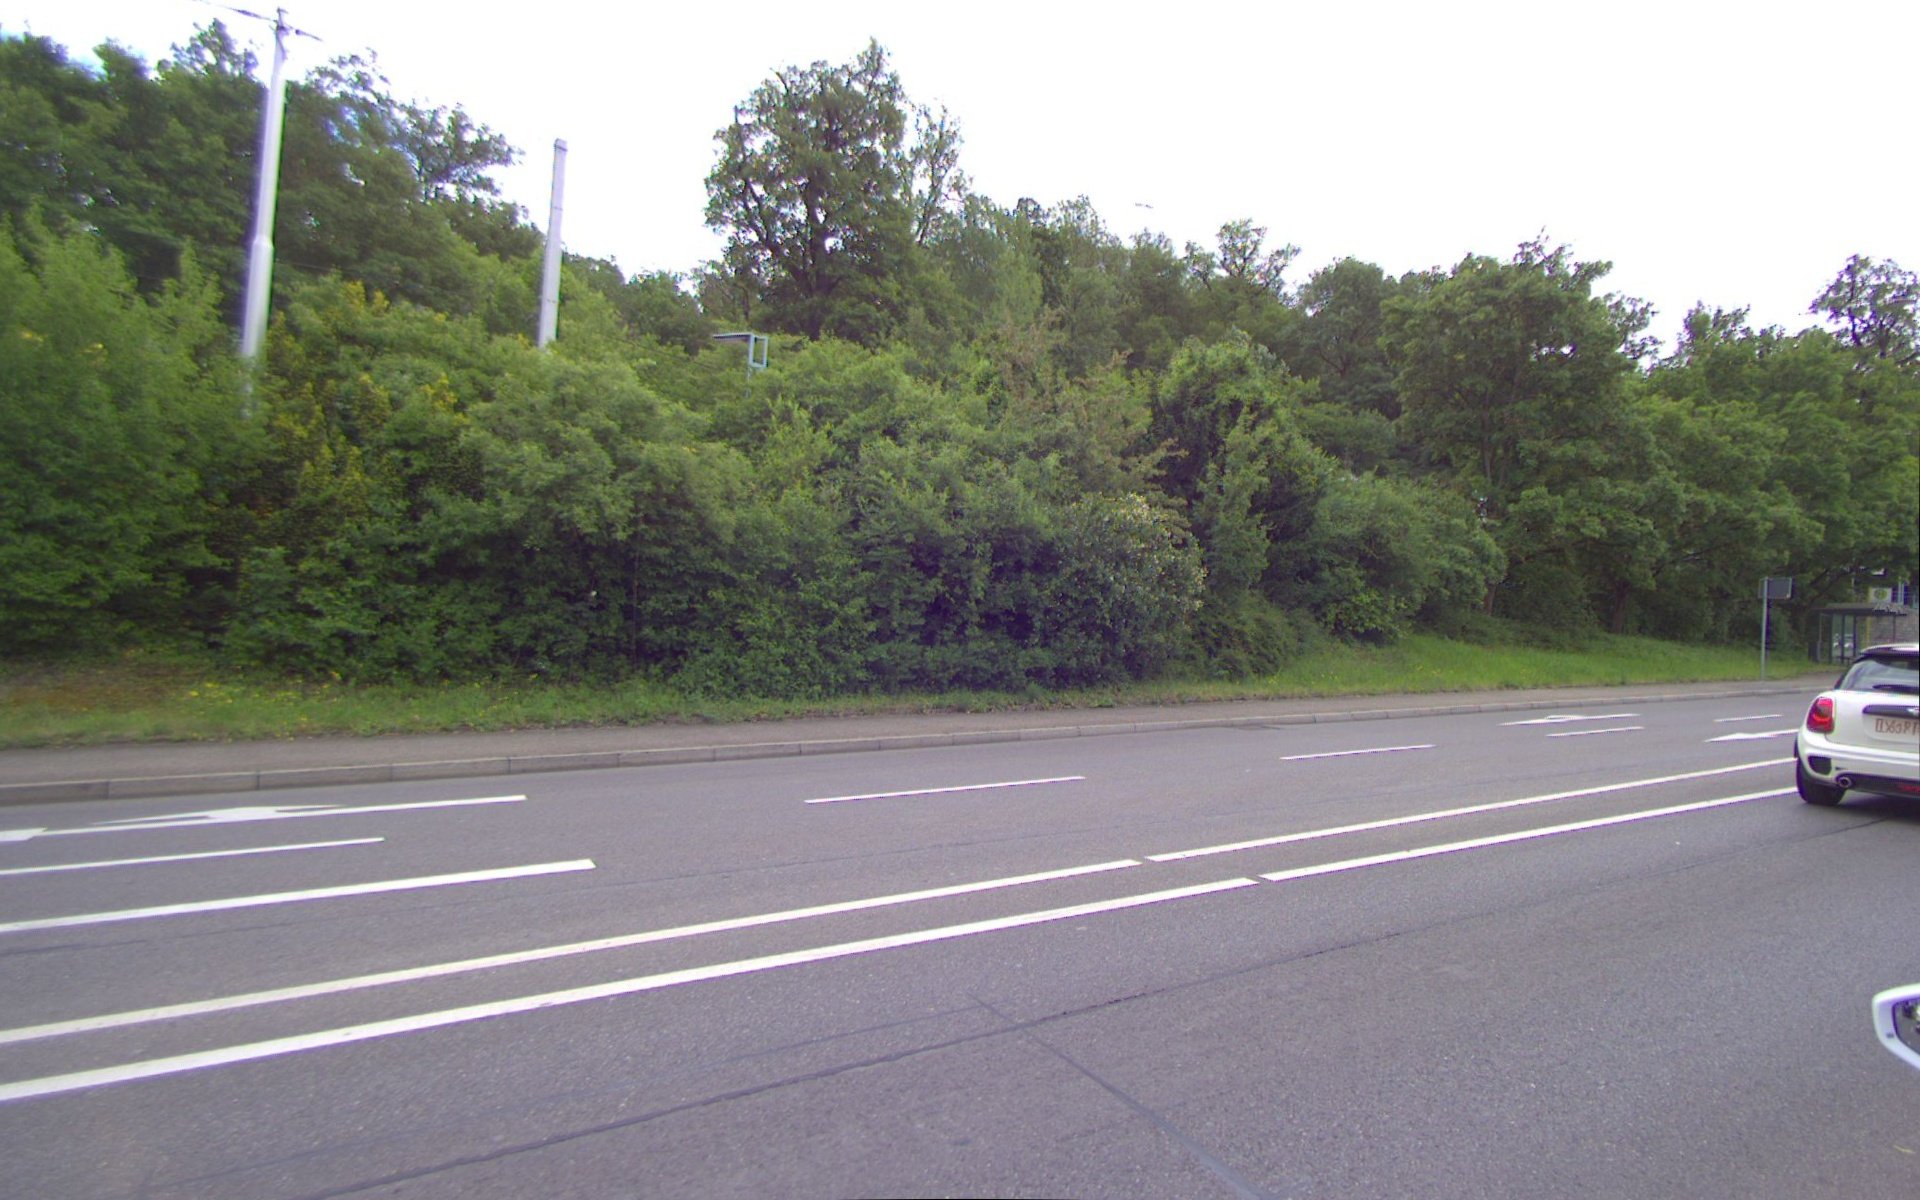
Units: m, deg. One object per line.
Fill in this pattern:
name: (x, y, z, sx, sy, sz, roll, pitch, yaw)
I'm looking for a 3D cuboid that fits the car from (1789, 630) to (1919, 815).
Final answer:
car: (8.832, 0.997, 8.701, 3.529, 1.412, 1.618, 2, -1, -34)
